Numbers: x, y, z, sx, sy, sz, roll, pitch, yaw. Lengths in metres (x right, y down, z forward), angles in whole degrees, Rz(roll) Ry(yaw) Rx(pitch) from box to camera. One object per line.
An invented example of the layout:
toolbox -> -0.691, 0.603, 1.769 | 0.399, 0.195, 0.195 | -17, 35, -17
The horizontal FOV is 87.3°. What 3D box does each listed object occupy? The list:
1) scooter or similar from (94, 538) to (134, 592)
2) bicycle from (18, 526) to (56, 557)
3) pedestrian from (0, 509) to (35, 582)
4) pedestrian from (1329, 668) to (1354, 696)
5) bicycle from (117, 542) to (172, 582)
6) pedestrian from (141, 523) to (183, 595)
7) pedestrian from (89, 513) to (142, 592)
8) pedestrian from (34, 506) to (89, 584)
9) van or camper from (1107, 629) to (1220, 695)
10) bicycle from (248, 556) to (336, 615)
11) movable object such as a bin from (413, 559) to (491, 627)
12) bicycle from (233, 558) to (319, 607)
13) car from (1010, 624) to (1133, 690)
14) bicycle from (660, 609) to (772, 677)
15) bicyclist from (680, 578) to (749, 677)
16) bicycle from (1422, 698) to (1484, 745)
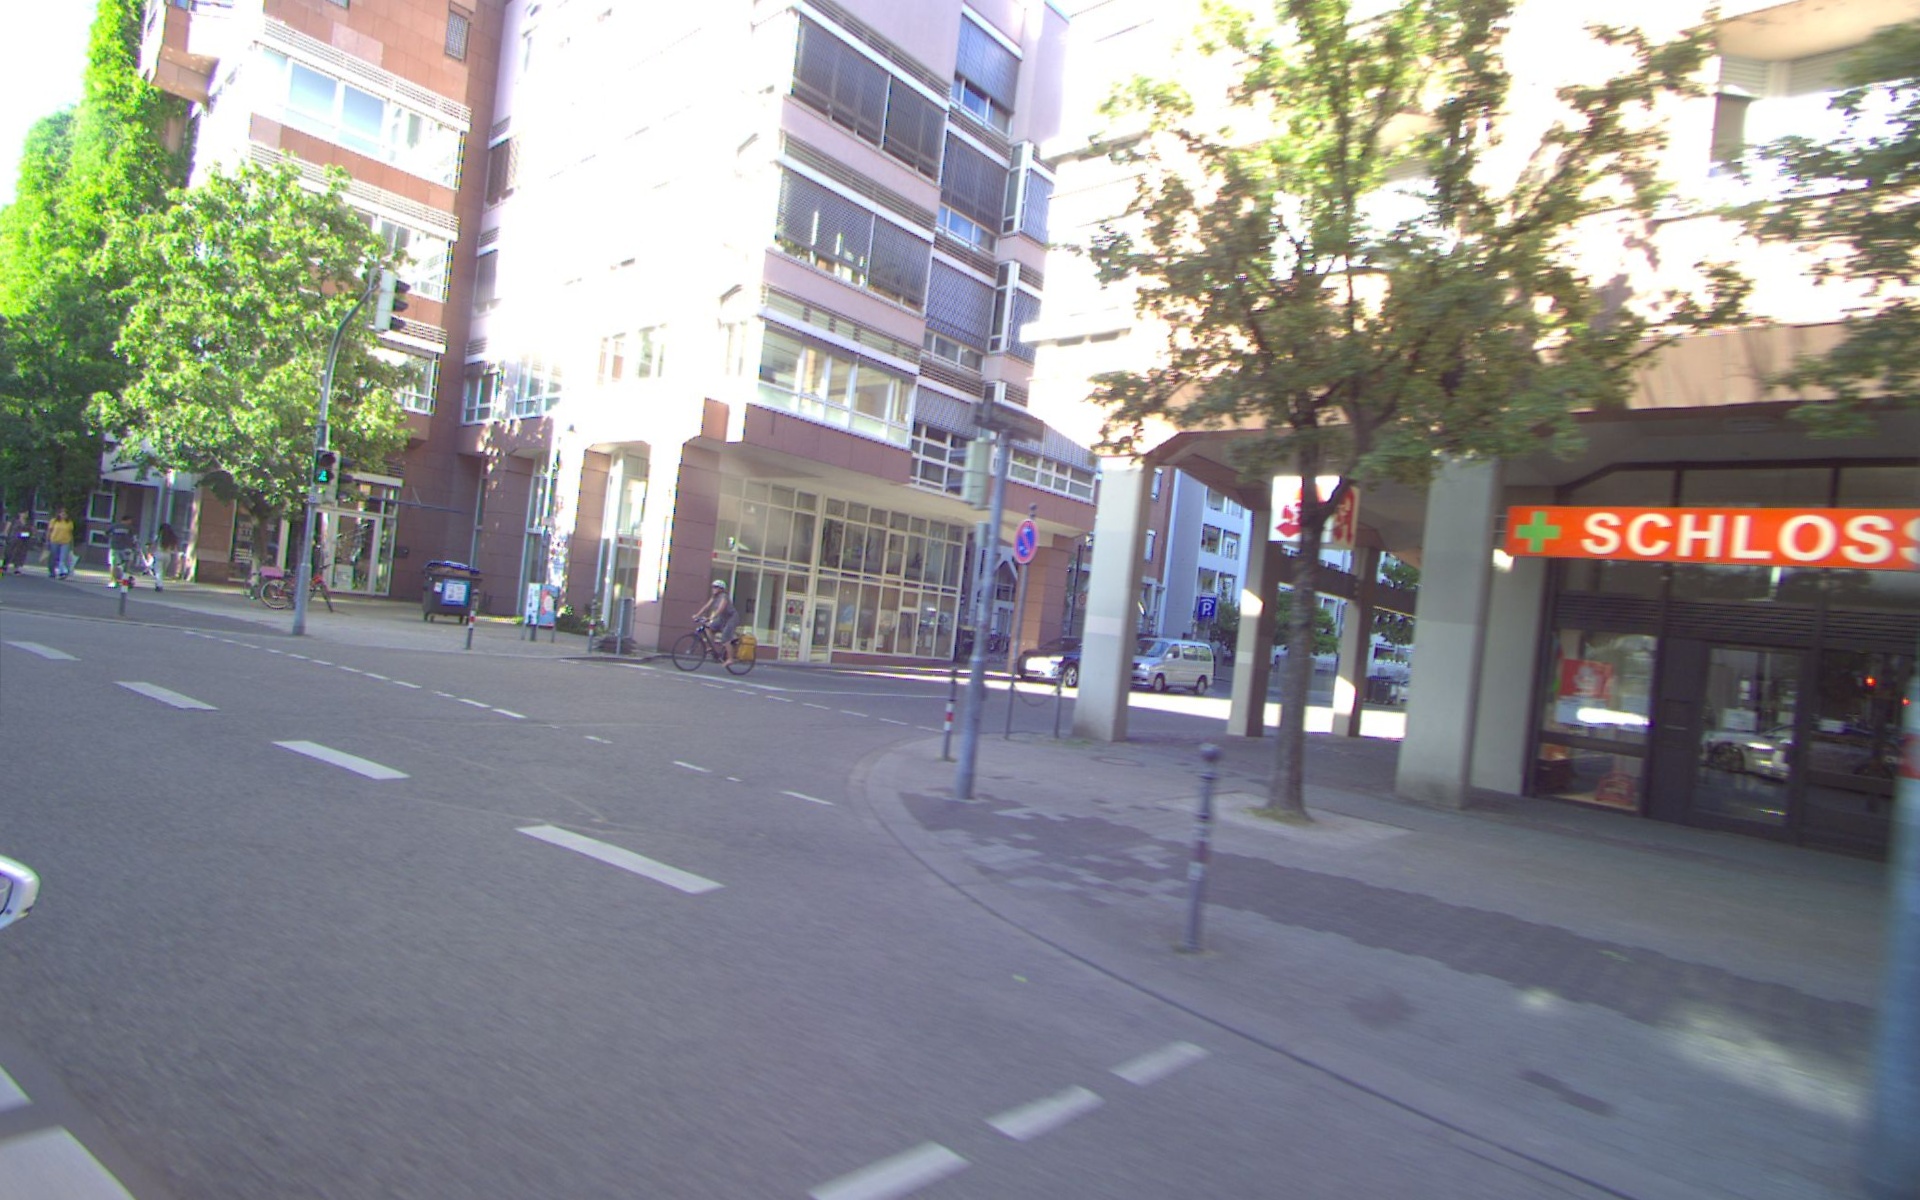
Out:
scooter or similar -> -20.204, -0.836, 24.012 | 1.231, 1.172, 0.394 | 6, 0, 38
bicycle -> -35.068, -2.230, 38.211 | 1.884, 1.033, 0.618 | 6, -1, 35
pedestrian -> -22.141, -1.282, 23.420 | 0.736, 1.597, 0.644 | 6, 0, 36
pedestrian -> 22.594, 4.874, 59.570 | 1.009, 1.505, 0.891 | 6, -1, 40
bicycle -> -22.990, -1.072, 28.351 | 1.725, 0.951, 0.737 | 6, -1, 37
pedestrian -> -19.602, -1.005, 24.708 | 0.669, 1.693, 0.459 | 6, 0, 32
pedestrian -> -20.227, -1.129, 24.096 | 0.602, 1.784, 0.784 | 6, 0, 43
pedestrian -> -21.442, -1.313, 24.005 | 0.756, 1.754, 0.700 | 6, 0, 36
van or camper -> 7.549, 2.309, 36.968 | 1.778, 1.996, 4.552 | 6, -2, 43
bicycle -> -16.046, -0.335, 24.195 | 0.569, 1.242, 1.567 | 6, -1, 38
movable object such as a bin -> -12.609, -0.157, 24.977 | 0.860, 1.499, 1.407 | 6, -1, 44
bicycle -> -18.045, -0.449, 26.579 | 1.733, 1.065, 0.734 | 7, -1, -31
car -> 3.677, 1.876, 32.541 | 1.776, 1.742, 4.181 | 6, -2, 41
bicycle -> -4.668, 0.841, 19.372 | 0.792, 1.126, 1.913 | 6, -1, 40
bicyclist -> -4.700, 0.527, 19.295 | 0.777, 1.791, 0.824 | 6, 0, 41
bicycle -> 12.701, 3.119, 25.904 | 1.298, 1.032, 0.610 | 7, -1, -19
